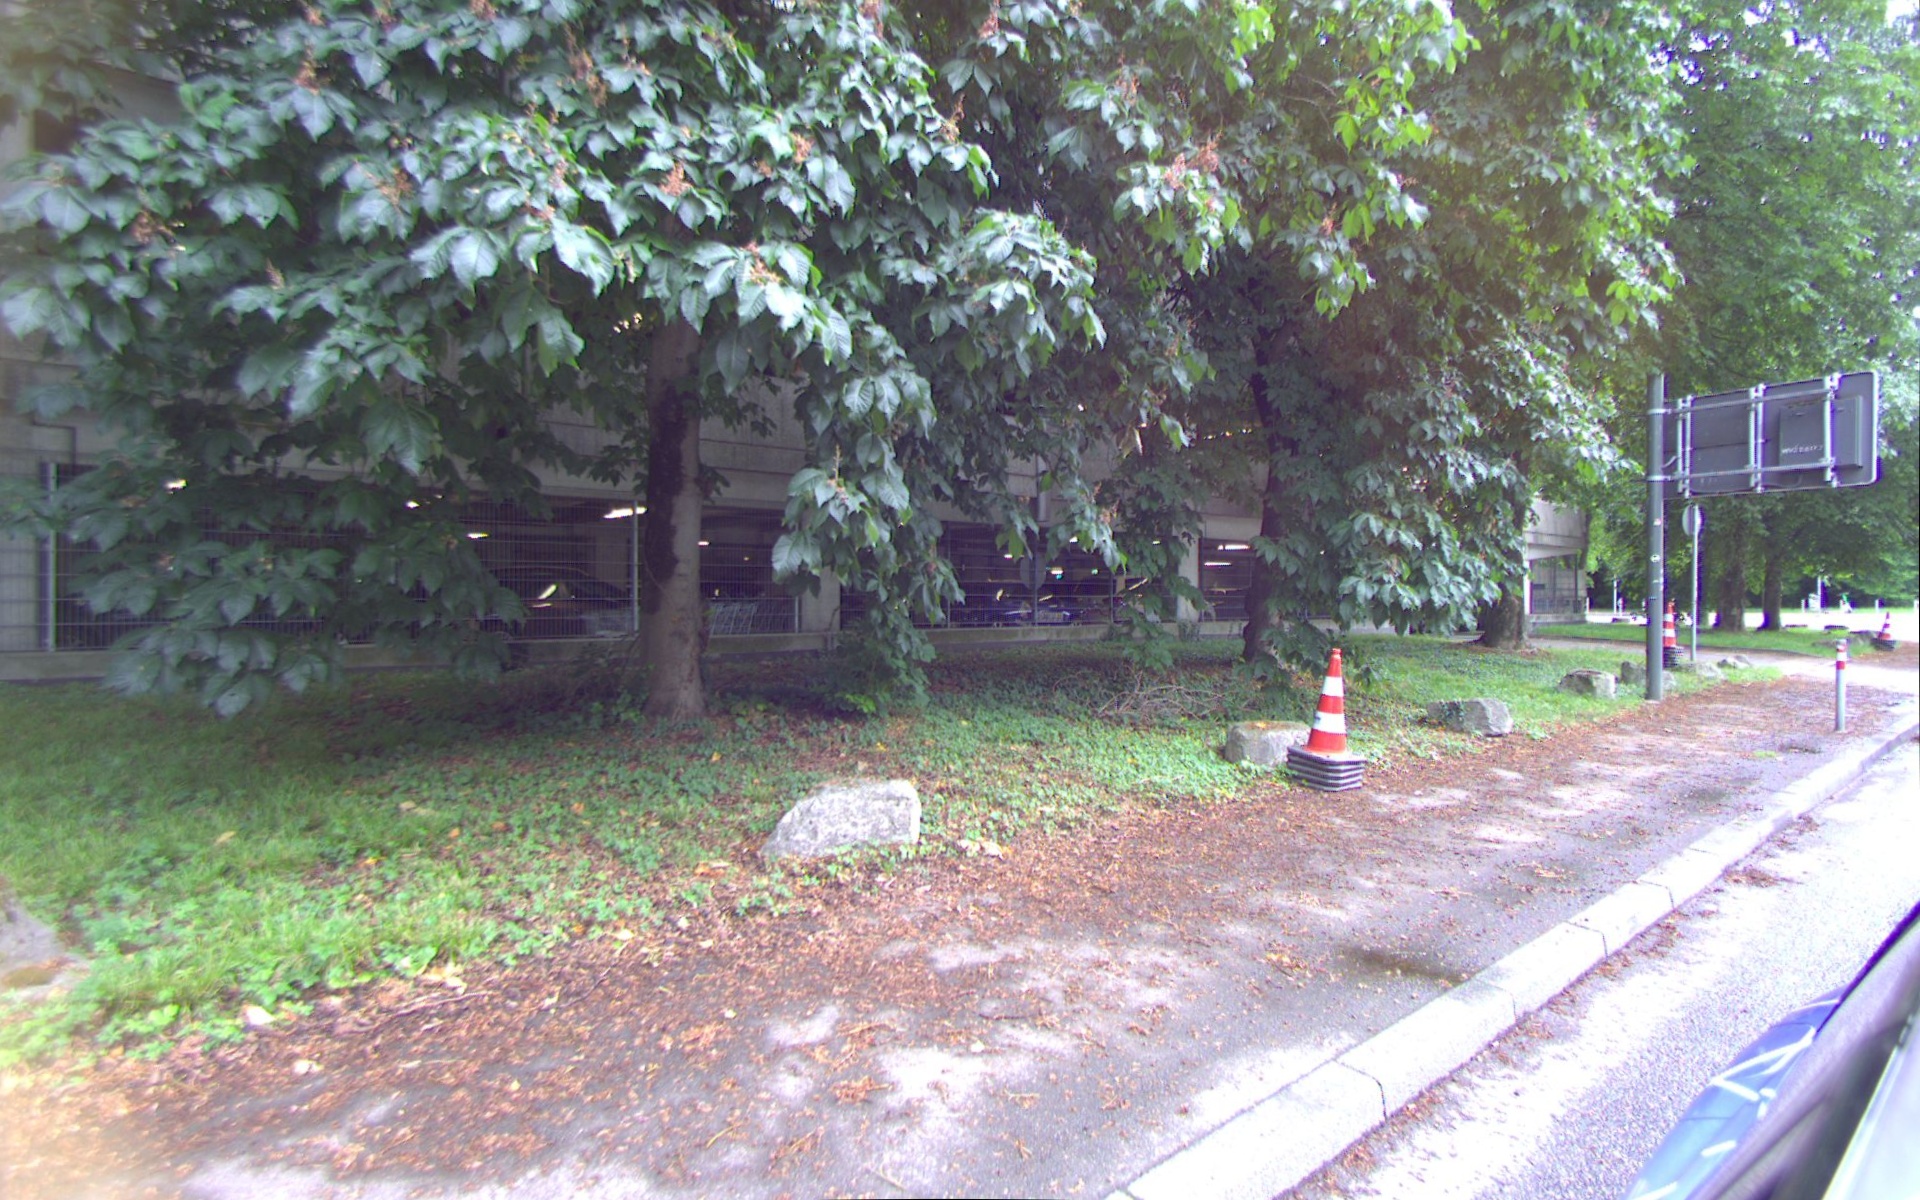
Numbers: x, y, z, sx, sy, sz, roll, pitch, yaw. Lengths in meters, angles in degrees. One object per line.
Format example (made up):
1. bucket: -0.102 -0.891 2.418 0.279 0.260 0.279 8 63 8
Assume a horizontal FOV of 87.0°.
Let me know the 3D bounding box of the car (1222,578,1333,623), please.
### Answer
1. car: 11.361 -0.002 36.145 3.927 1.471 1.876 -2 1 -38

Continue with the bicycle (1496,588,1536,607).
1. bicycle: 35.545 -0.168 64.710 0.765 1.157 2.047 -3 1 -42

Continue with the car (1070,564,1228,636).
1. car: 5.074 -0.038 26.819 4.587 1.730 1.588 -2 0 -41

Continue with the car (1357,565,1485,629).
1. car: 14.543 -0.094 31.807 4.653 1.858 1.922 -1 0 -41

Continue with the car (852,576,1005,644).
1. car: -0.763 0.217 25.799 3.639 1.565 1.718 -2 1 -42

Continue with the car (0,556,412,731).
1. car: -10.333 0.465 13.895 4.594 2.039 1.996 -2 0 -41

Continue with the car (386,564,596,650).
1. car: -9.756 0.101 21.202 3.639 1.627 1.718 -2 1 -42

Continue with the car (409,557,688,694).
1. car: -6.873 0.337 17.082 3.929 2.039 1.997 -2 0 -40

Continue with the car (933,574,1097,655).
1. car: 1.352 0.285 23.806 3.791 1.730 1.588 -2 0 -41

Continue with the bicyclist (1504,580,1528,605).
1. bicyclist: 35.534 -0.476 64.714 0.912 1.514 1.099 -3 1 -42

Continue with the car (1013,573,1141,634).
1. car: 3.447 0.073 29.413 3.629 1.606 1.718 -2 1 -42

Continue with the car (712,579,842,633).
1. car: -5.717 0.168 31.859 3.638 1.565 1.719 -2 1 -41

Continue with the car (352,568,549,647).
1. car: -11.445 0.130 22.846 3.639 1.627 1.718 -2 1 -42

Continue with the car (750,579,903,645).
1. car: -3.451 0.283 26.542 3.639 1.565 1.718 -2 1 -42

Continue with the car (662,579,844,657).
1. car: -4.590 0.354 22.699 3.639 1.565 1.718 -2 1 -42
